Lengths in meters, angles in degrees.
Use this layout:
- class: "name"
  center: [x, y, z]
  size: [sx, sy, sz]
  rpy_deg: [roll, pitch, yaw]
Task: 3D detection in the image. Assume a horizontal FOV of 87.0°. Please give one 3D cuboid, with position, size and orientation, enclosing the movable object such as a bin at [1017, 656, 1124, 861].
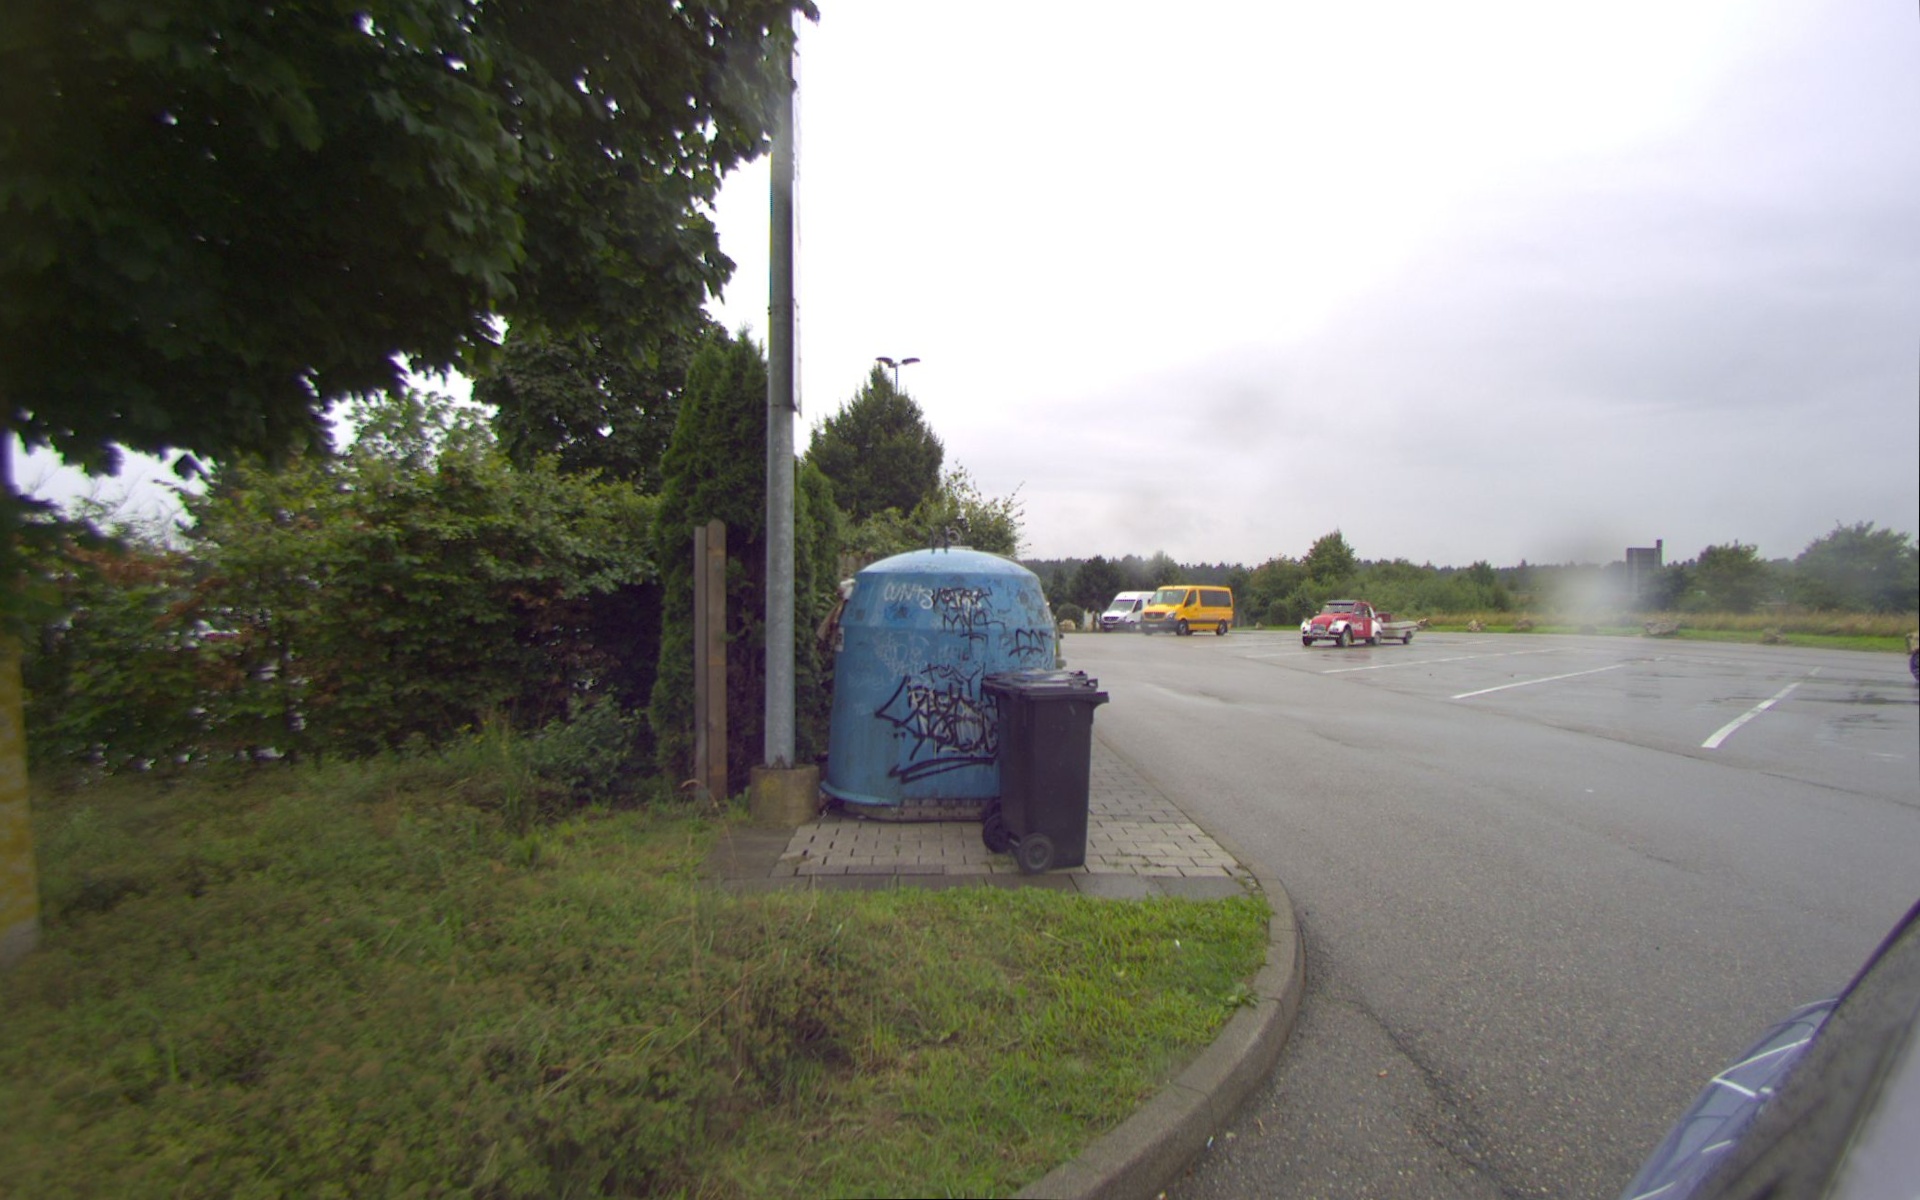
- class: "movable object such as a bin"
  center: [0.576, 0.786, 5.207]
  size: [0.444, 0.950, 0.485]
  rpy_deg: [1, 0, 20]

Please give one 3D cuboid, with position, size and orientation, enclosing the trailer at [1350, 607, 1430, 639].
- class: "trailer"
  center: [15.299, 0.806, 35.949]
  size: [2.979, 1.081, 1.585]
  rpy_deg: [1, -1, -43]

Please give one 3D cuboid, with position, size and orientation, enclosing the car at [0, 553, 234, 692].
- class: "car"
  center: [-15.350, 0.342, 17.139]
  size: [4.677, 2.216, 2.000]
  rpy_deg: [0, 1, 0]

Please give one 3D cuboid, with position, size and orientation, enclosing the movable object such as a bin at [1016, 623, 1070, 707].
- class: "movable object such as a bin"
  center: [0.966, 0.738, 11.751]
  size: [0.491, 0.932, 0.411]
  rpy_deg: [0, 0, 31]

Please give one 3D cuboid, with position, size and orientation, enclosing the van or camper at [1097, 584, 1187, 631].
- class: "van or camper"
  center: [11.501, 0.465, 63.445]
  size: [1.994, 2.749, 6.956]
  rpy_deg: [3, 2, 44]

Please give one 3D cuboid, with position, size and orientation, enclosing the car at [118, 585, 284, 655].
- class: "car"
  center: [-23.224, 0.584, 31.074]
  size: [3.710, 2.039, 1.788]
  rpy_deg: [0, 0, -4]

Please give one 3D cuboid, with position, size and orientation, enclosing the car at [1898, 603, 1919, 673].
- class: "car"
  center: [20.651, 0.818, 19.494]
  size: [1.750, 1.451, 4.069]
  rpy_deg: [1, 0, 8]

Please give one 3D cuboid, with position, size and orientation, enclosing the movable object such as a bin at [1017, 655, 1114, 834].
- class: "movable object such as a bin"
  center: [0.609, 0.795, 5.762]
  size: [0.444, 0.929, 0.485]
  rpy_deg: [1, 0, 20]

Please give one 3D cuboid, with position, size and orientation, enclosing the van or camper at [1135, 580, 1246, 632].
- class: "van or camper"
  center: [10.818, 0.276, 47.140]
  size: [2.128, 2.275, 6.316]
  rpy_deg: [1, 0, 44]

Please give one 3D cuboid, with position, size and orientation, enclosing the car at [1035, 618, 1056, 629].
- class: "car"
  center: [8.818, 2.365, 104.311]
  size: [1.470, 1.013, 3.574]
  rpy_deg: [1, 0, -6]

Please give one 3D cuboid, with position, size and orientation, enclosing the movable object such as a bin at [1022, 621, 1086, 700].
- class: "movable object such as a bin"
  center: [1.170, 0.740, 12.585]
  size: [0.625, 0.932, 0.551]
  rpy_deg: [0, 0, 31]

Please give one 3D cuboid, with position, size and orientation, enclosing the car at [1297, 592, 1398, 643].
- class: "car"
  center: [12.813, 0.534, 33.384]
  size: [3.988, 1.575, 1.546]
  rpy_deg: [0, 0, -43]
